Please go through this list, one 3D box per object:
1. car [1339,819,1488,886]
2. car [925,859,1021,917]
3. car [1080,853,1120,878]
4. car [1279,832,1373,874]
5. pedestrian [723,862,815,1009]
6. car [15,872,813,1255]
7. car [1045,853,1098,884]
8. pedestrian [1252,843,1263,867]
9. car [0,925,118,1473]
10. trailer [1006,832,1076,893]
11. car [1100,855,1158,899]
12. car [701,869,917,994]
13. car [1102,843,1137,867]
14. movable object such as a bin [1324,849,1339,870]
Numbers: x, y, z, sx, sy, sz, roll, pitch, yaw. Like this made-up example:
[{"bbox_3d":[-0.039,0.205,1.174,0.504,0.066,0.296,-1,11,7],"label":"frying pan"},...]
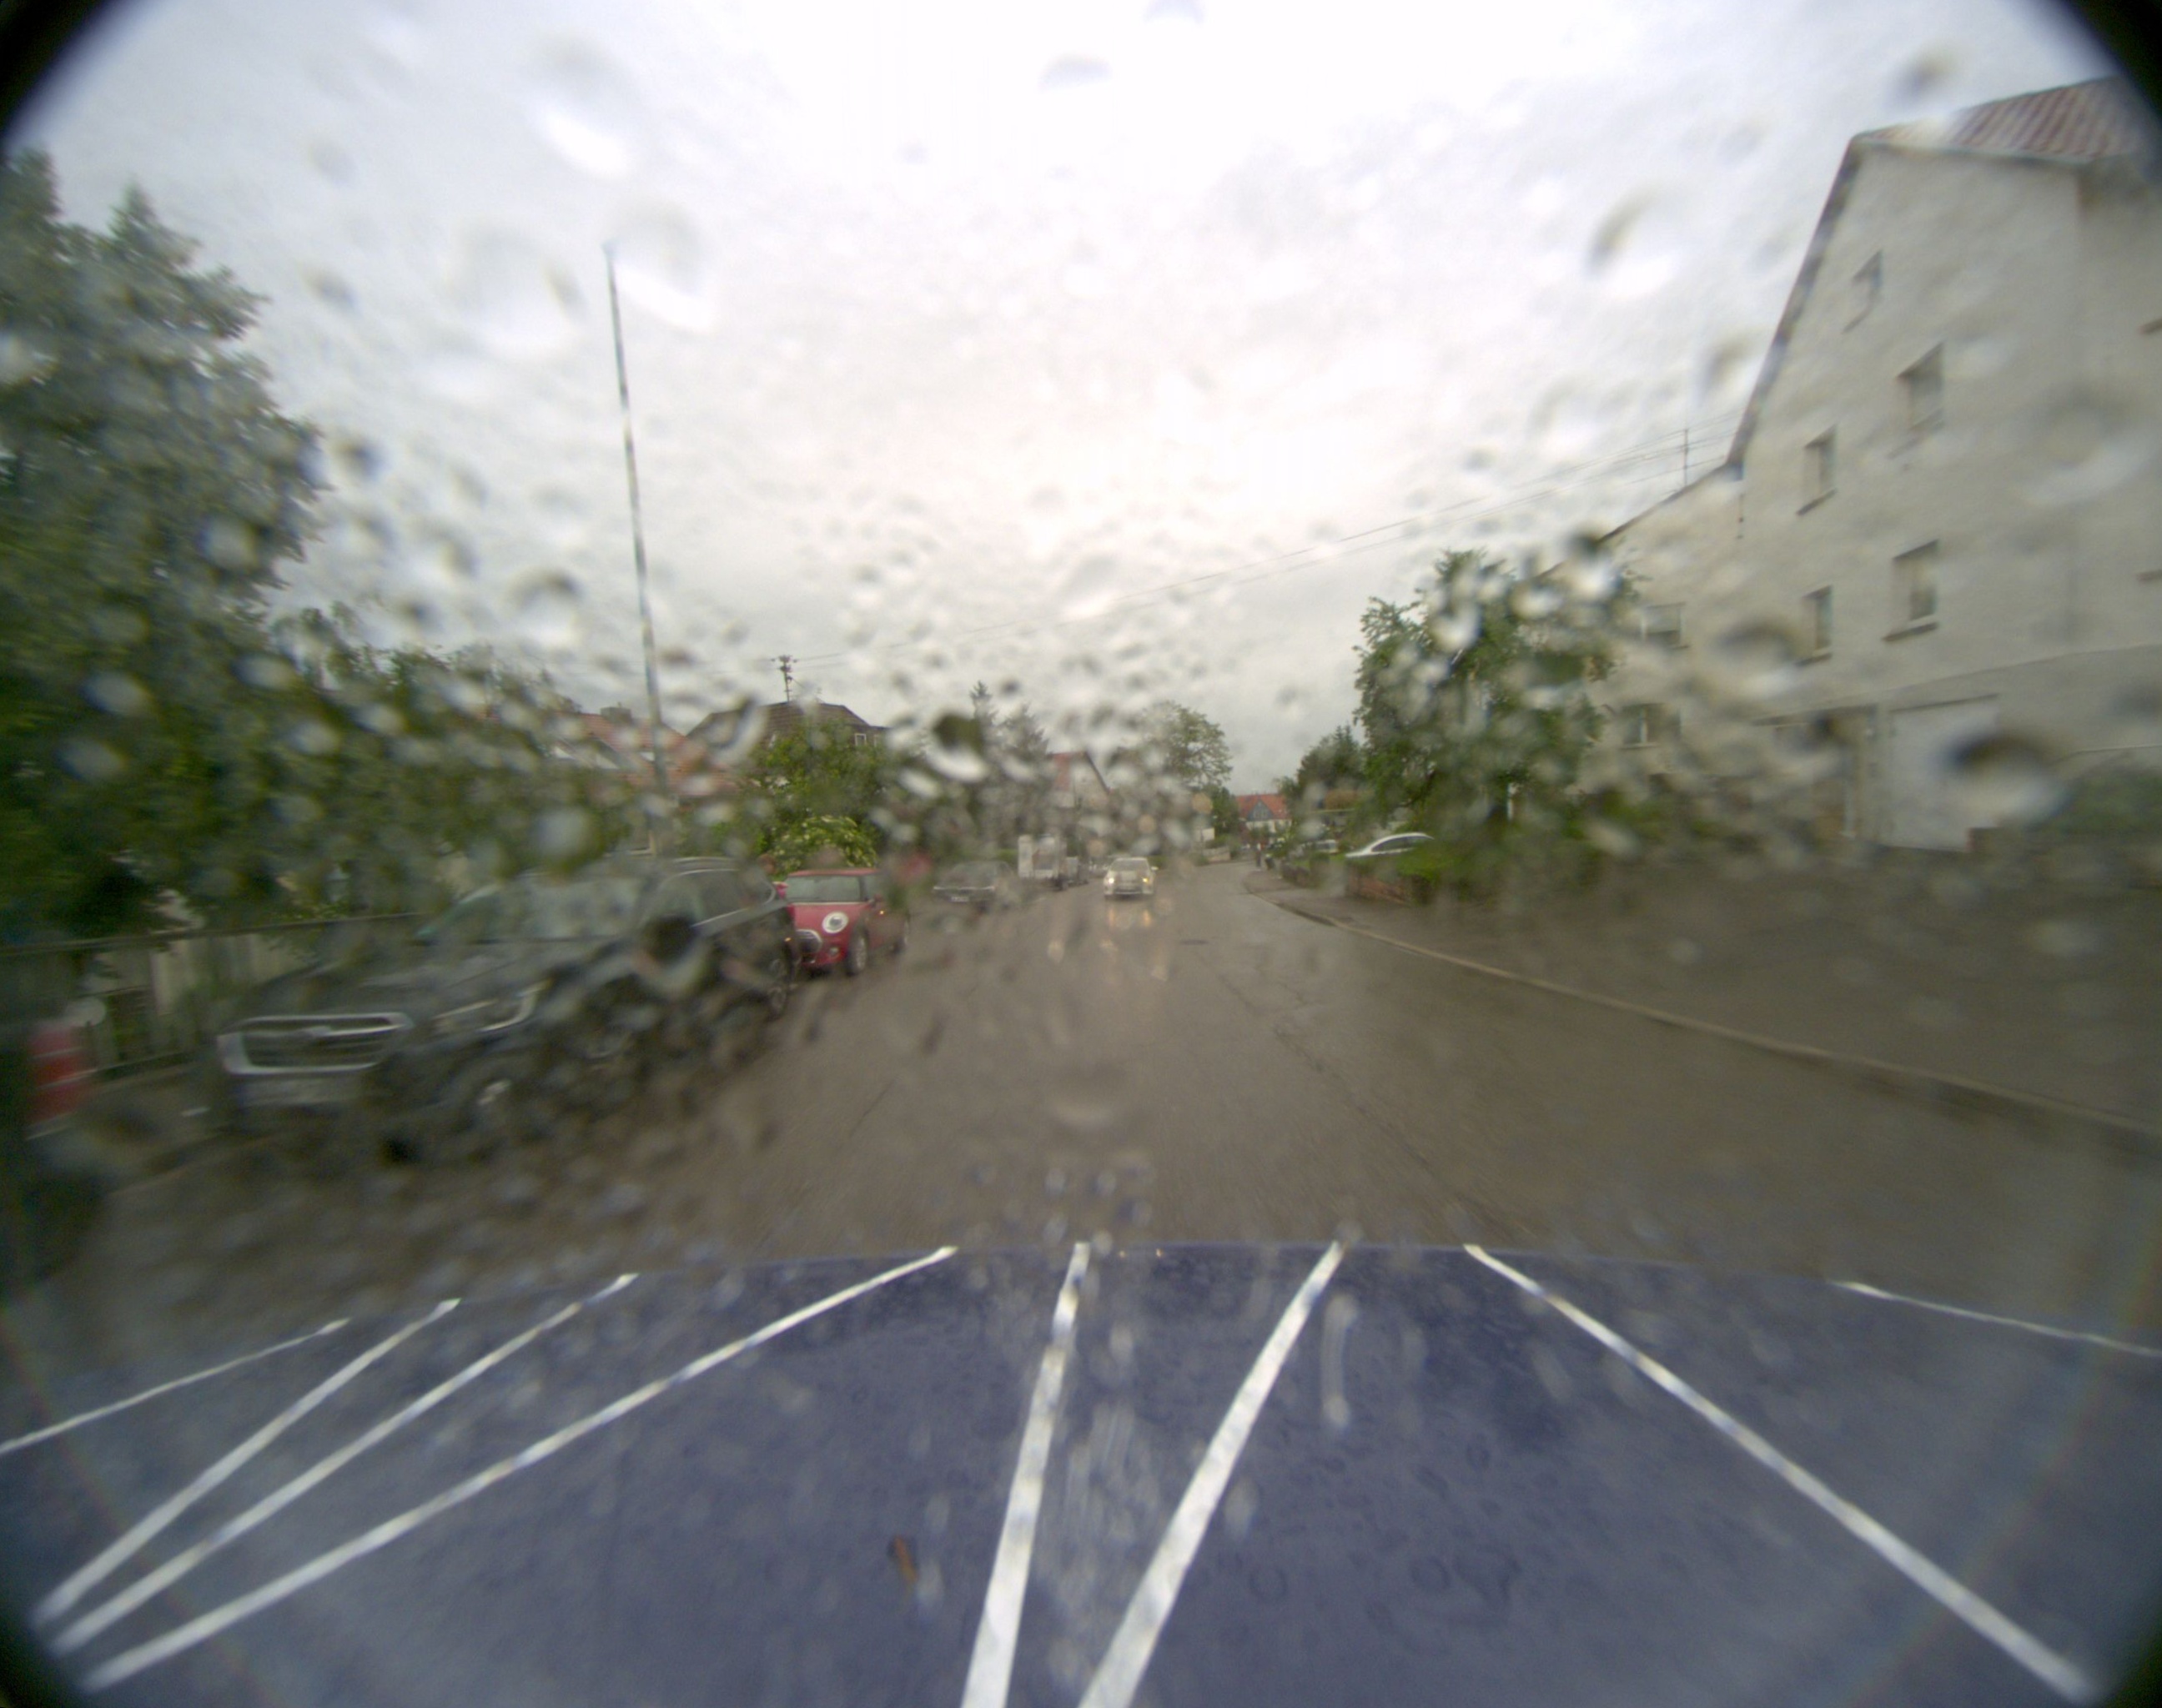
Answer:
[{"bbox_3d":[11.008,-0.054,25.469,4.259,1.423,1.768,-11,-1,19],"label":"car"},{"bbox_3d":[-3.086,0.921,22.719,1.797,1.451,4.790,-1,0,5],"label":"car"},{"bbox_3d":[1.269,0.709,48.073,1.636,1.448,3.704,-1,1,16],"label":"car"},{"bbox_3d":[13.129,-0.079,41.010,4.517,1.604,1.934,-8,0,14],"label":"car"},{"bbox_3d":[-3.627,0.922,8.878,0.718,1.625,0.707,-2,1,0],"label":"pedestrian"},{"bbox_3d":[-3.798,0.994,5.753,1.820,1.498,4.723,-2,1,0],"label":"car"},{"bbox_3d":[-0.435,0.729,39.552,1.750,1.416,4.707,-1,1,12],"label":"car"},{"bbox_3d":[12.331,0.099,53.122,0.657,1.639,0.733,-2,-1,11],"label":"pedestrian"},{"bbox_3d":[-3.846,1.035,0.202,1.649,1.532,4.352,-2,1,-2],"label":"car"},{"bbox_3d":[-1.648,0.299,33.671,1.952,2.442,5.437,-1,1,9],"label":"trailer"},{"bbox_3d":[1.861,0.797,28.042,1.862,1.370,4.182,-2,1,7],"label":"car"},{"bbox_3d":[-3.808,1.010,11.412,1.740,1.406,3.852,-2,1,1],"label":"car"},{"bbox_3d":[2.877,0.048,56.026,1.832,1.691,4.464,-1,1,12],"label":"car"},{"bbox_3d":[12.716,0.285,38.545,0.538,1.013,0.711,-7,0,12],"label":"movable object such as a bin"}]
